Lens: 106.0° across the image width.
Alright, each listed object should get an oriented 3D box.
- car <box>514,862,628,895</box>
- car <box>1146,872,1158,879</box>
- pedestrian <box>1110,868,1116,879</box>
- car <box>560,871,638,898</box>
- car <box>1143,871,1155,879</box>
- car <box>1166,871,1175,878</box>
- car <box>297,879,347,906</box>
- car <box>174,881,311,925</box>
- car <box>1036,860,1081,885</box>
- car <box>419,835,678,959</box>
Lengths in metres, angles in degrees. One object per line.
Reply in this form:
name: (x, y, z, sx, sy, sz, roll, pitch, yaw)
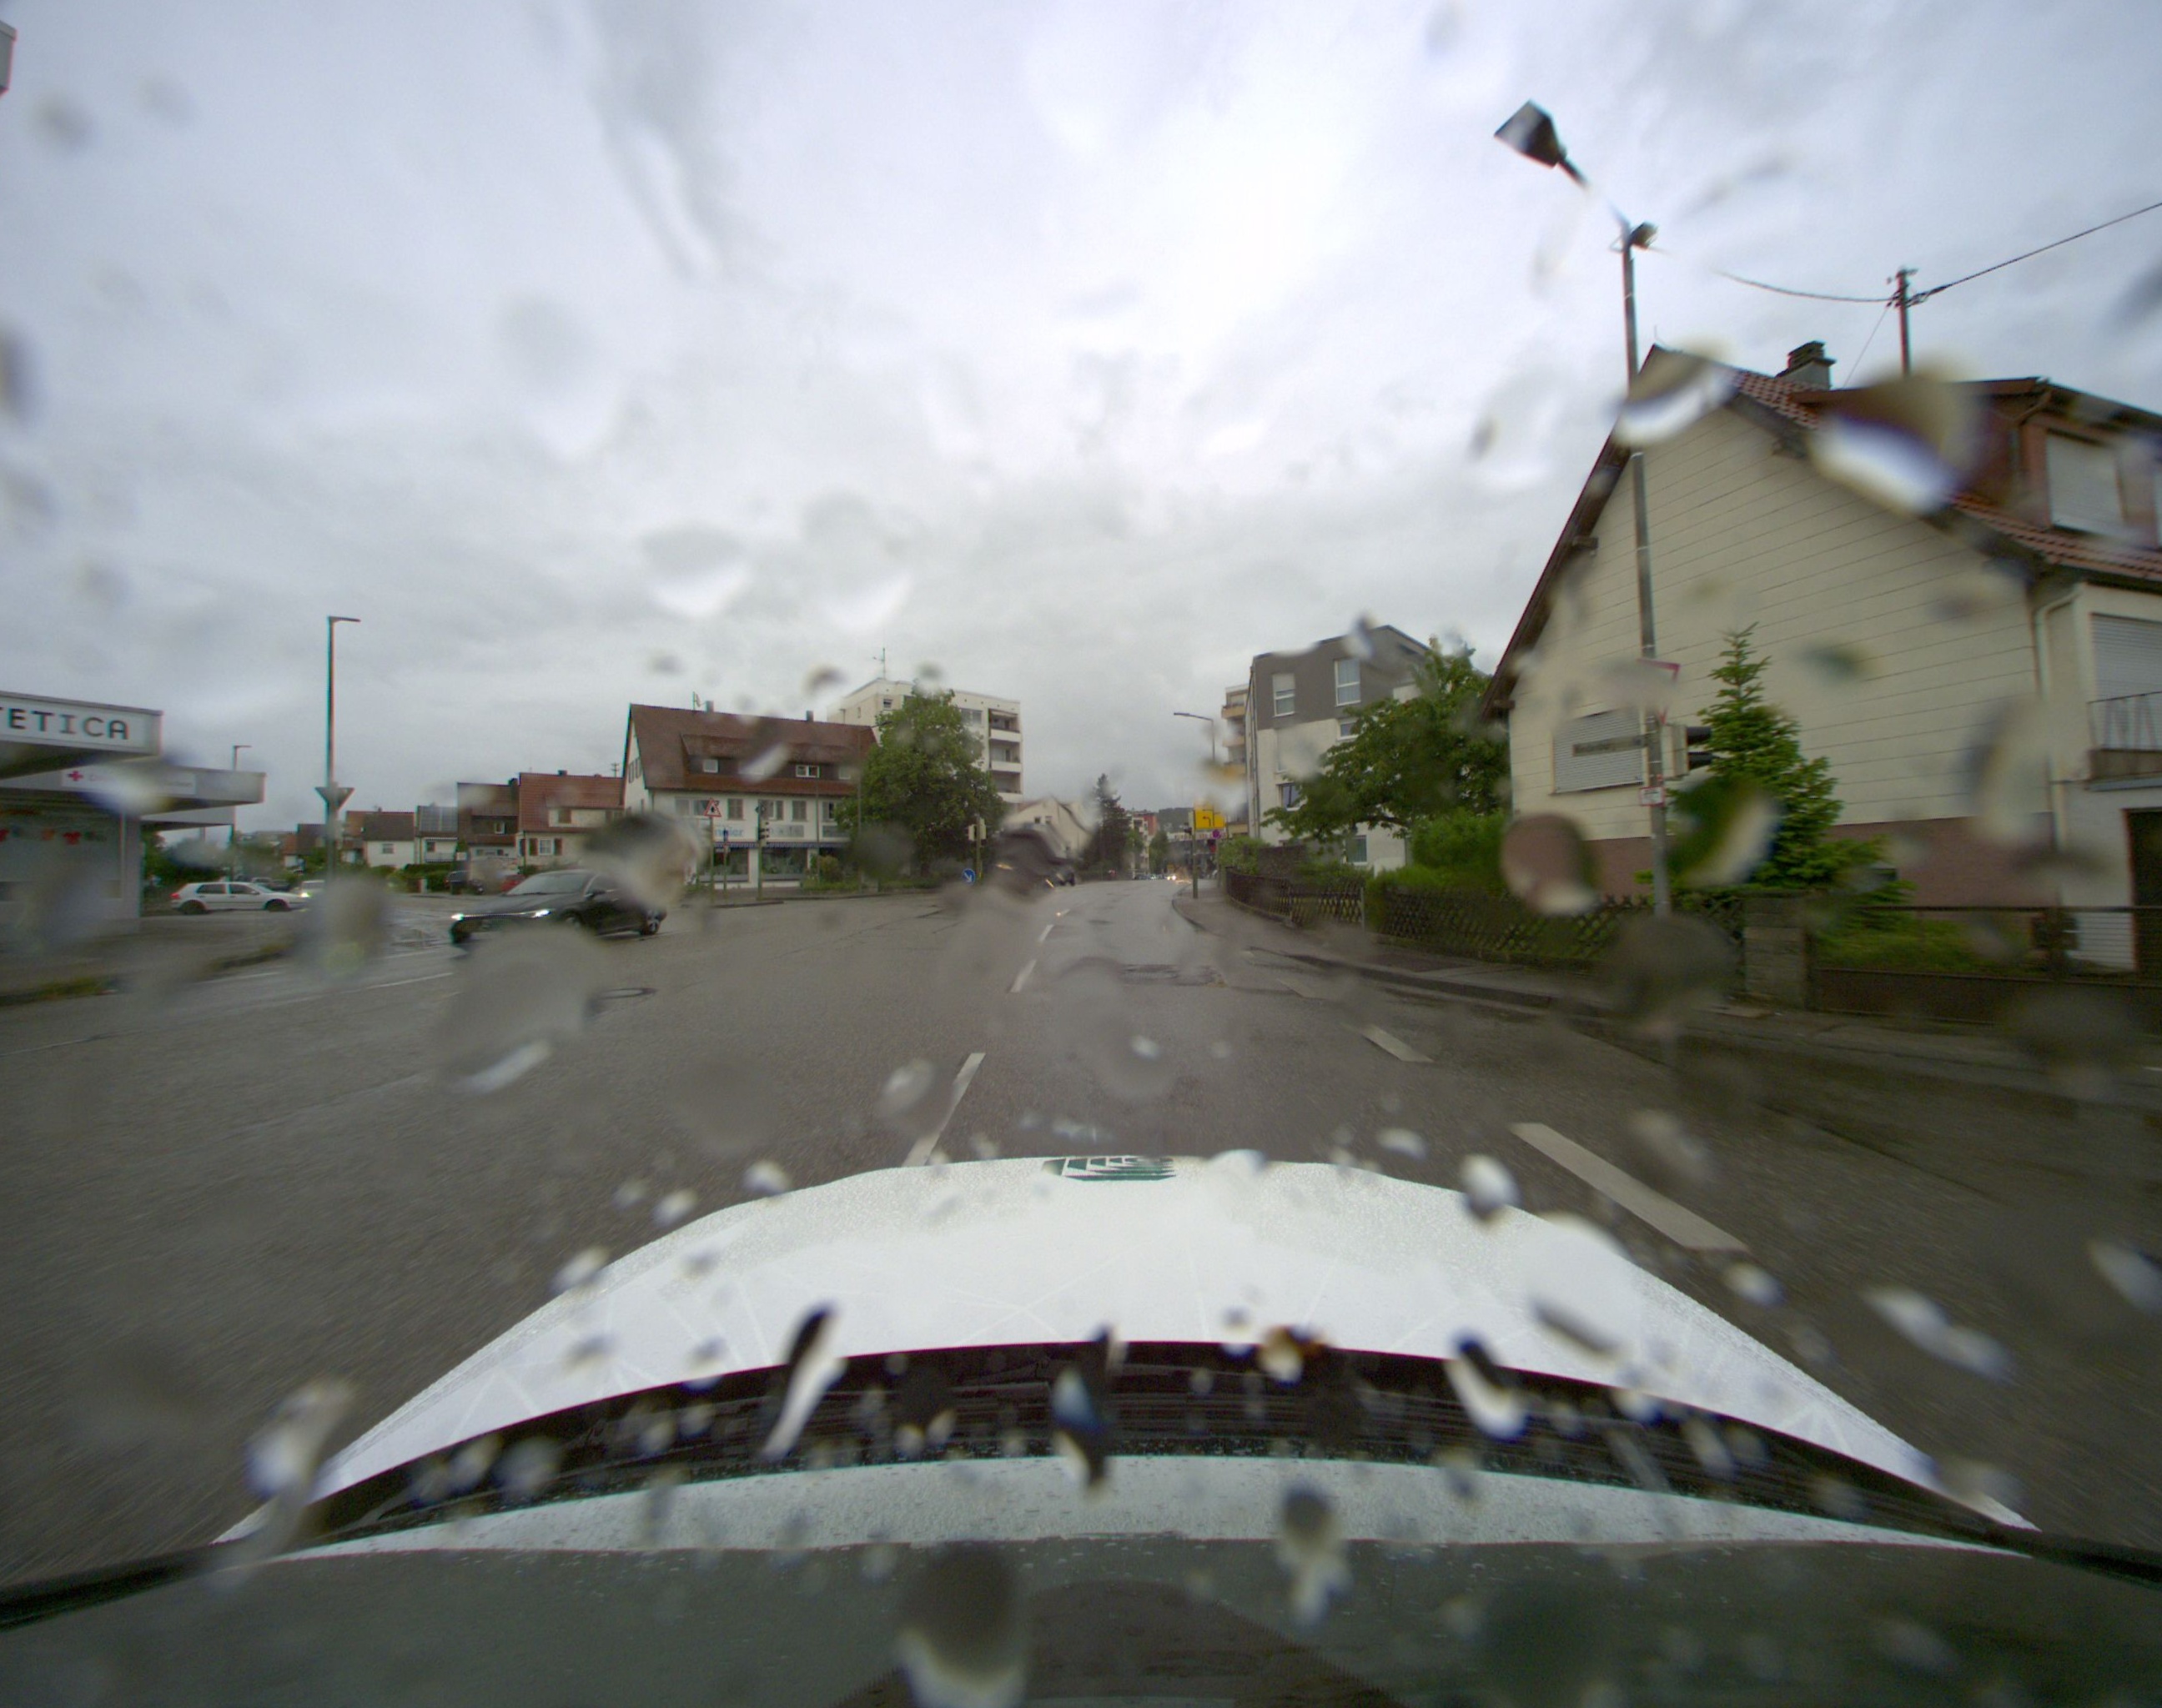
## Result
car: (-32.154, 1.516, 51.433, 5.882, 1.842, 1.976, -1, -1, -40)
car: (14.861, 4.534, 170.542, 1.682, 1.464, 4.699, -2, -2, 13)
pedestrian: (4.826, 2.987, 122.237, 0.865, 1.607, 1.104, -1, -3, 3)
car: (-29.582, 1.850, 50.021, 4.015, 1.526, 1.979, -1, -1, -34)
car: (13.793, 4.271, 164.880, 1.640, 1.521, 4.339, -2, -2, 13)
car: (19.511, 4.392, 177.692, 1.688, 1.409, 4.009, -4, -1, 8)
car: (-42.925, 2.144, 46.018, 4.234, 1.434, 1.846, -2, -1, 44)
car: (-37.068, 2.130, 36.166, 3.934, 1.733, 1.815, -1, -1, -34)
car: (-1.444, 1.202, 53.488, 1.790, 1.557, 4.334, -1, -1, 14)
car: (-10.031, 0.735, 15.908, 1.988, 2.014, 4.650, -1, 0, -1)
